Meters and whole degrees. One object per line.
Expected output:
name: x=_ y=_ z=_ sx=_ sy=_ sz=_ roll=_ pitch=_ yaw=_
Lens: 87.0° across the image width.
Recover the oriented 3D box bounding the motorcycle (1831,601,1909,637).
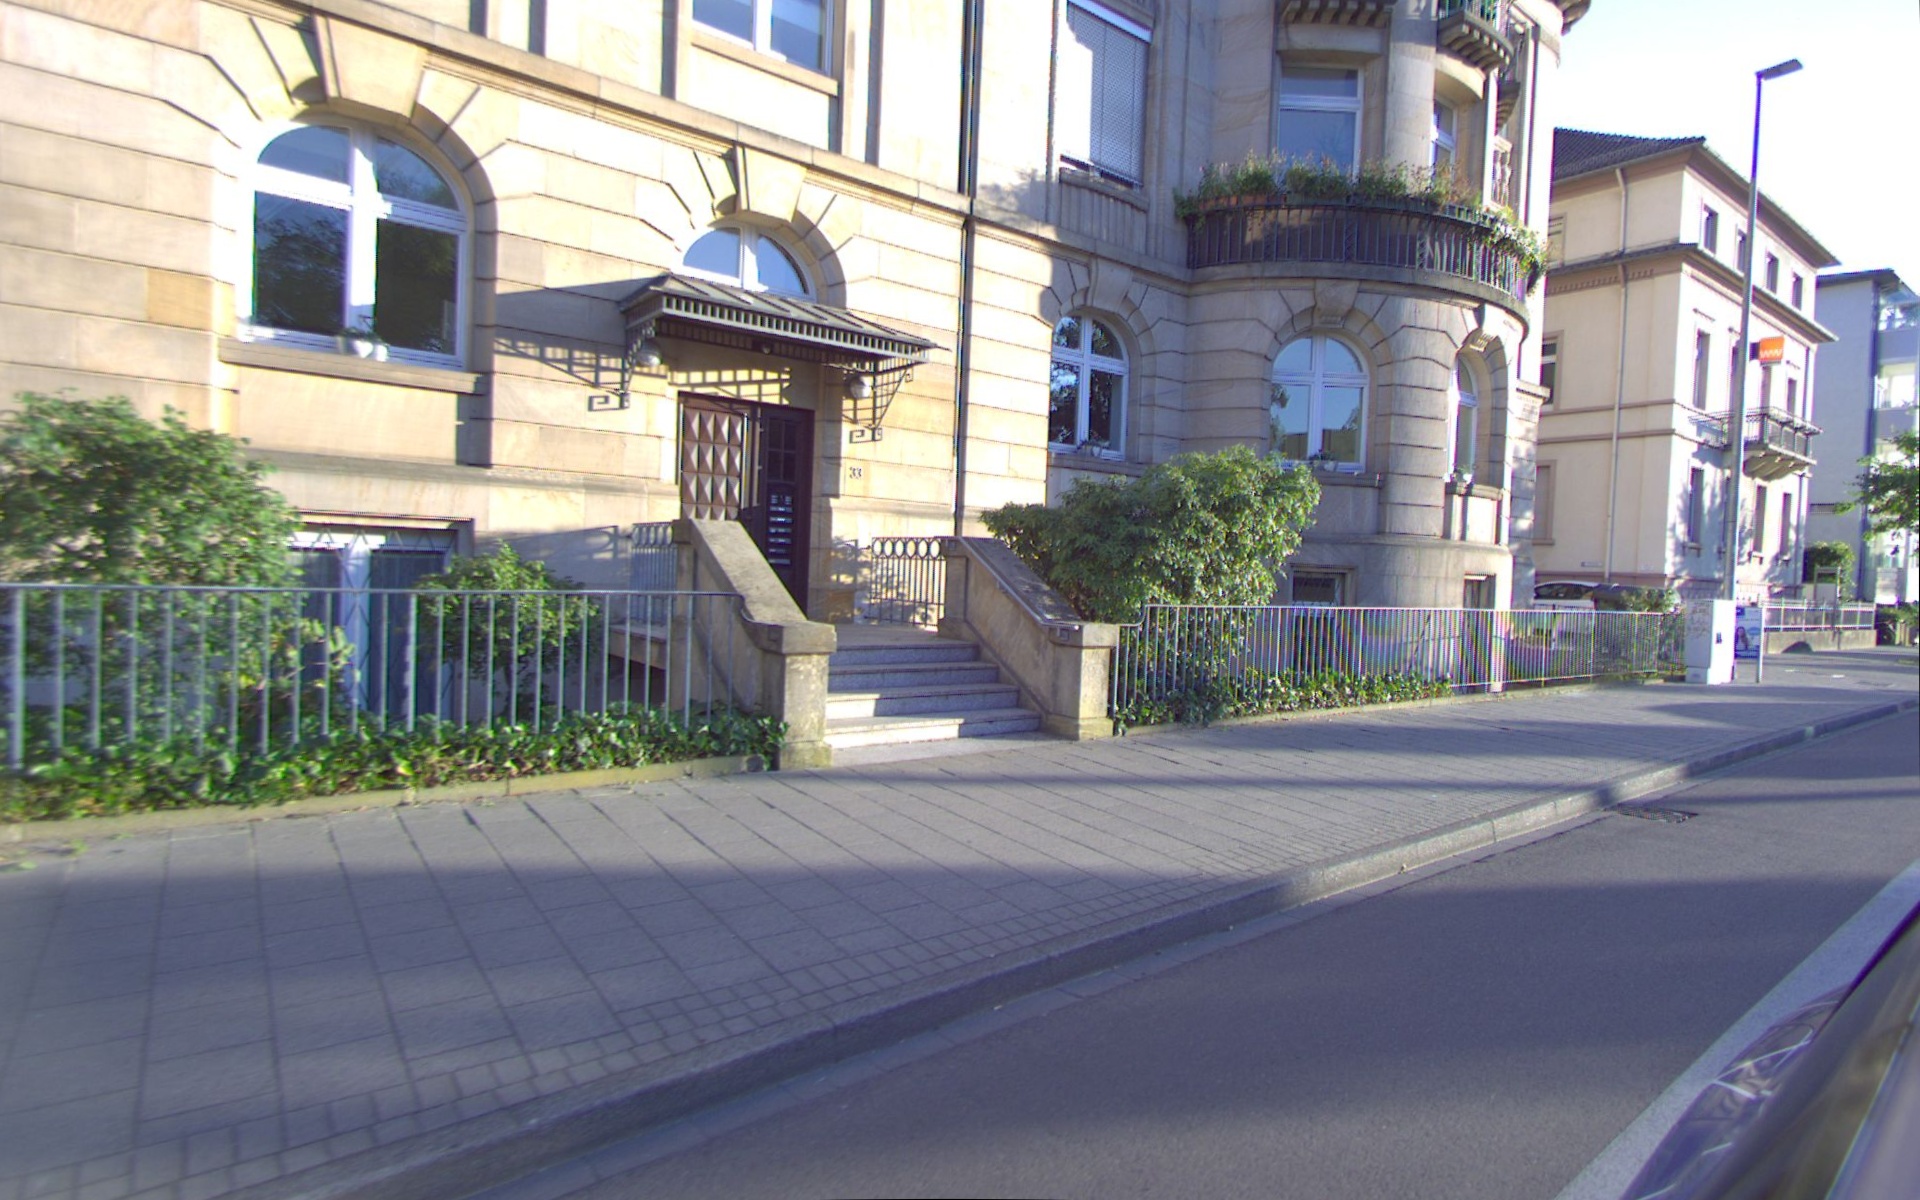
motorcycle: x=30.586 y=0.630 z=34.041 sx=0.564 sy=1.110 sz=1.852 roll=1 pitch=1 yaw=-32

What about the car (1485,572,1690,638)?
car: x=16.197 y=0.090 z=26.293 sx=1.902 sy=1.499 sz=4.099 roll=1 pitch=1 yaw=-37
